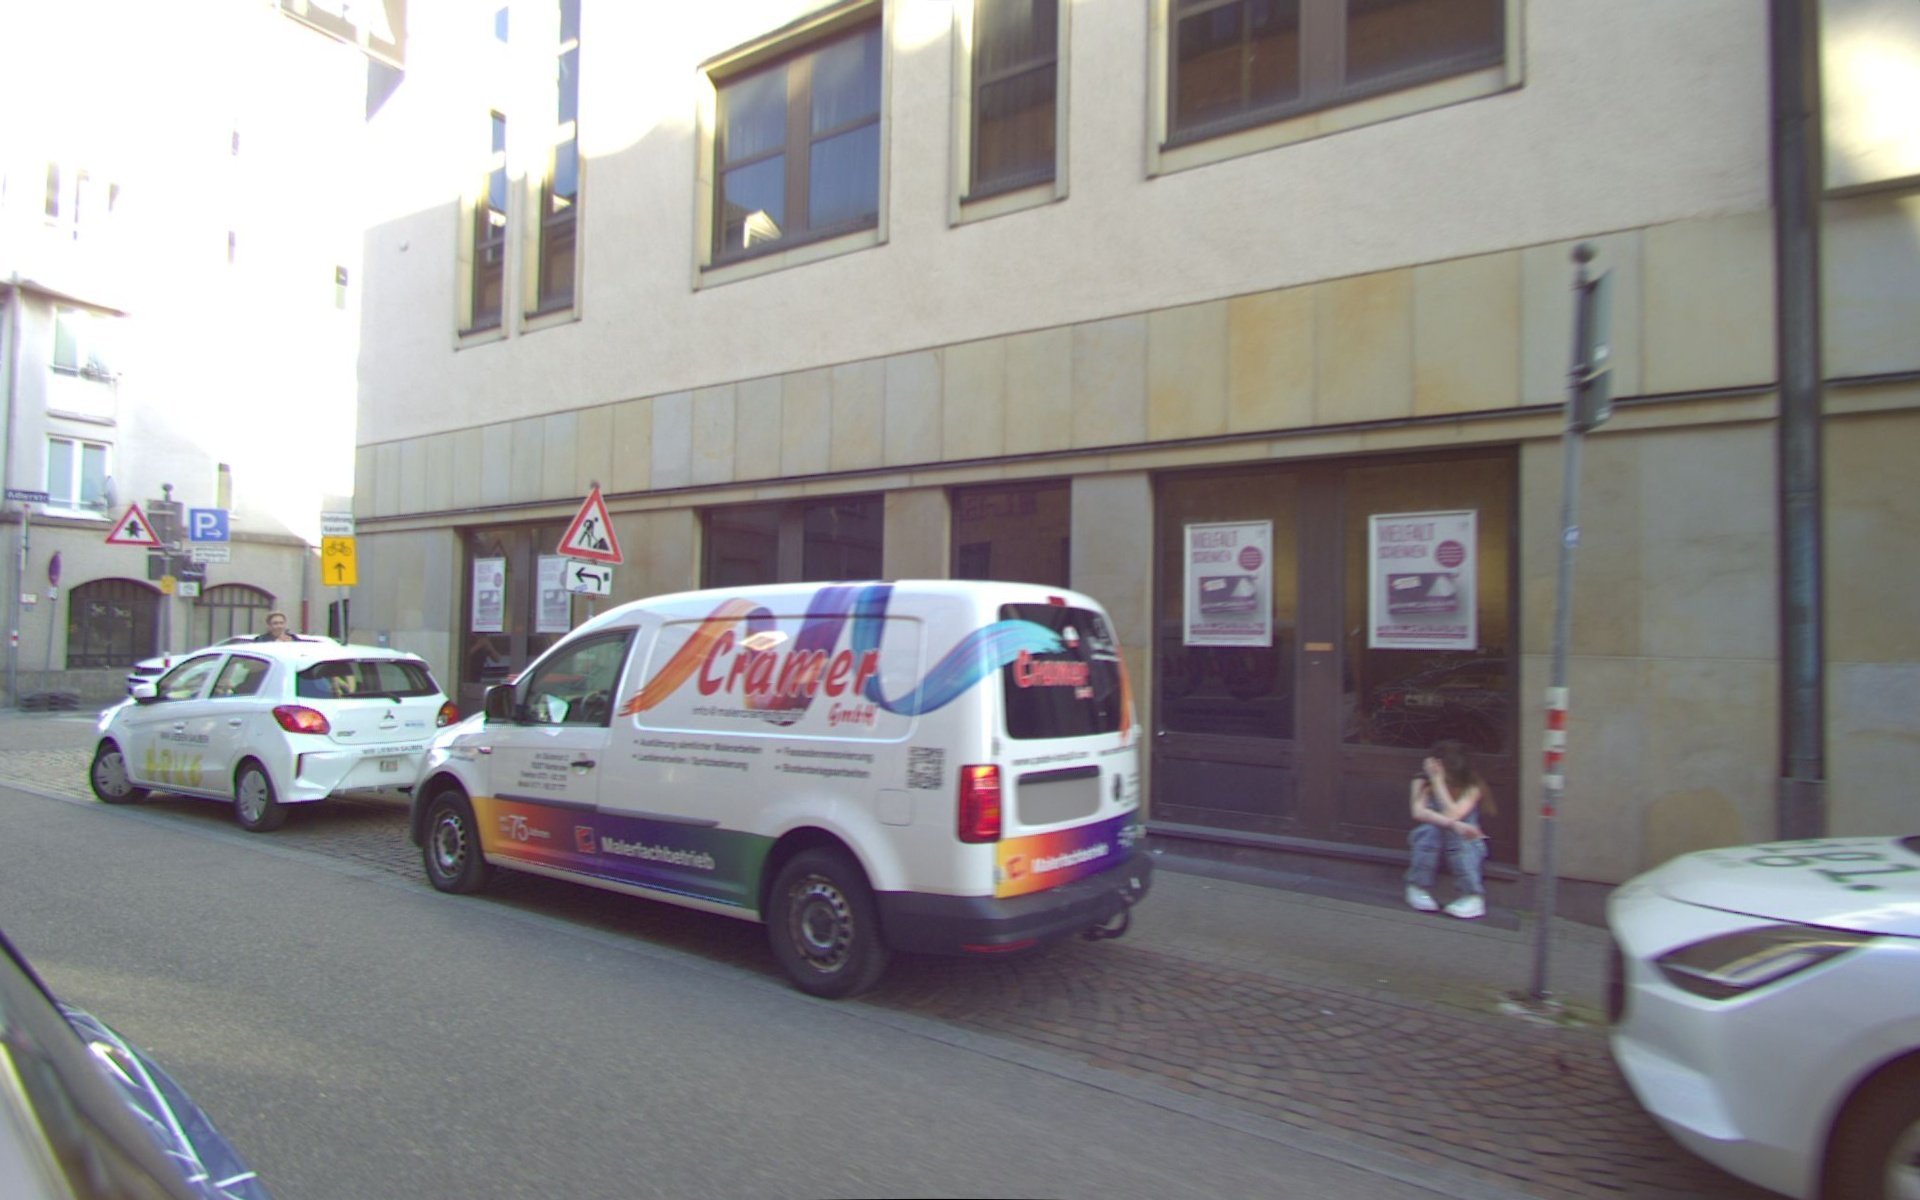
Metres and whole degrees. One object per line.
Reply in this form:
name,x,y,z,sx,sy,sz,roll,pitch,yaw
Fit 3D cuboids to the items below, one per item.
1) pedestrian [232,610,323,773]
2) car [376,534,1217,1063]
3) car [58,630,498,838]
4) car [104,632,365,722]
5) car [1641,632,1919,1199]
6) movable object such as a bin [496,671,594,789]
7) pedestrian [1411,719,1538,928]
pedestrian,-8.233,1.080,12.208,0.705,1.869,0.863,5,-4,-40
car,-1.149,0.779,5.750,4.722,1.872,1.883,-1,-4,35
car,-6.203,1.070,9.163,3.783,1.504,1.725,-1,-4,29
car,-14.643,1.524,20.645,1.738,1.605,3.925,0,-3,33
car,3.766,0.893,2.185,3.765,1.534,1.656,-1,-5,34
movable object such as a bin,-4.281,1.315,10.456,0.589,1.109,0.731,0,0,30
pedestrian,2.995,1.248,5.873,0.615,1.043,0.650,-1,-3,30
